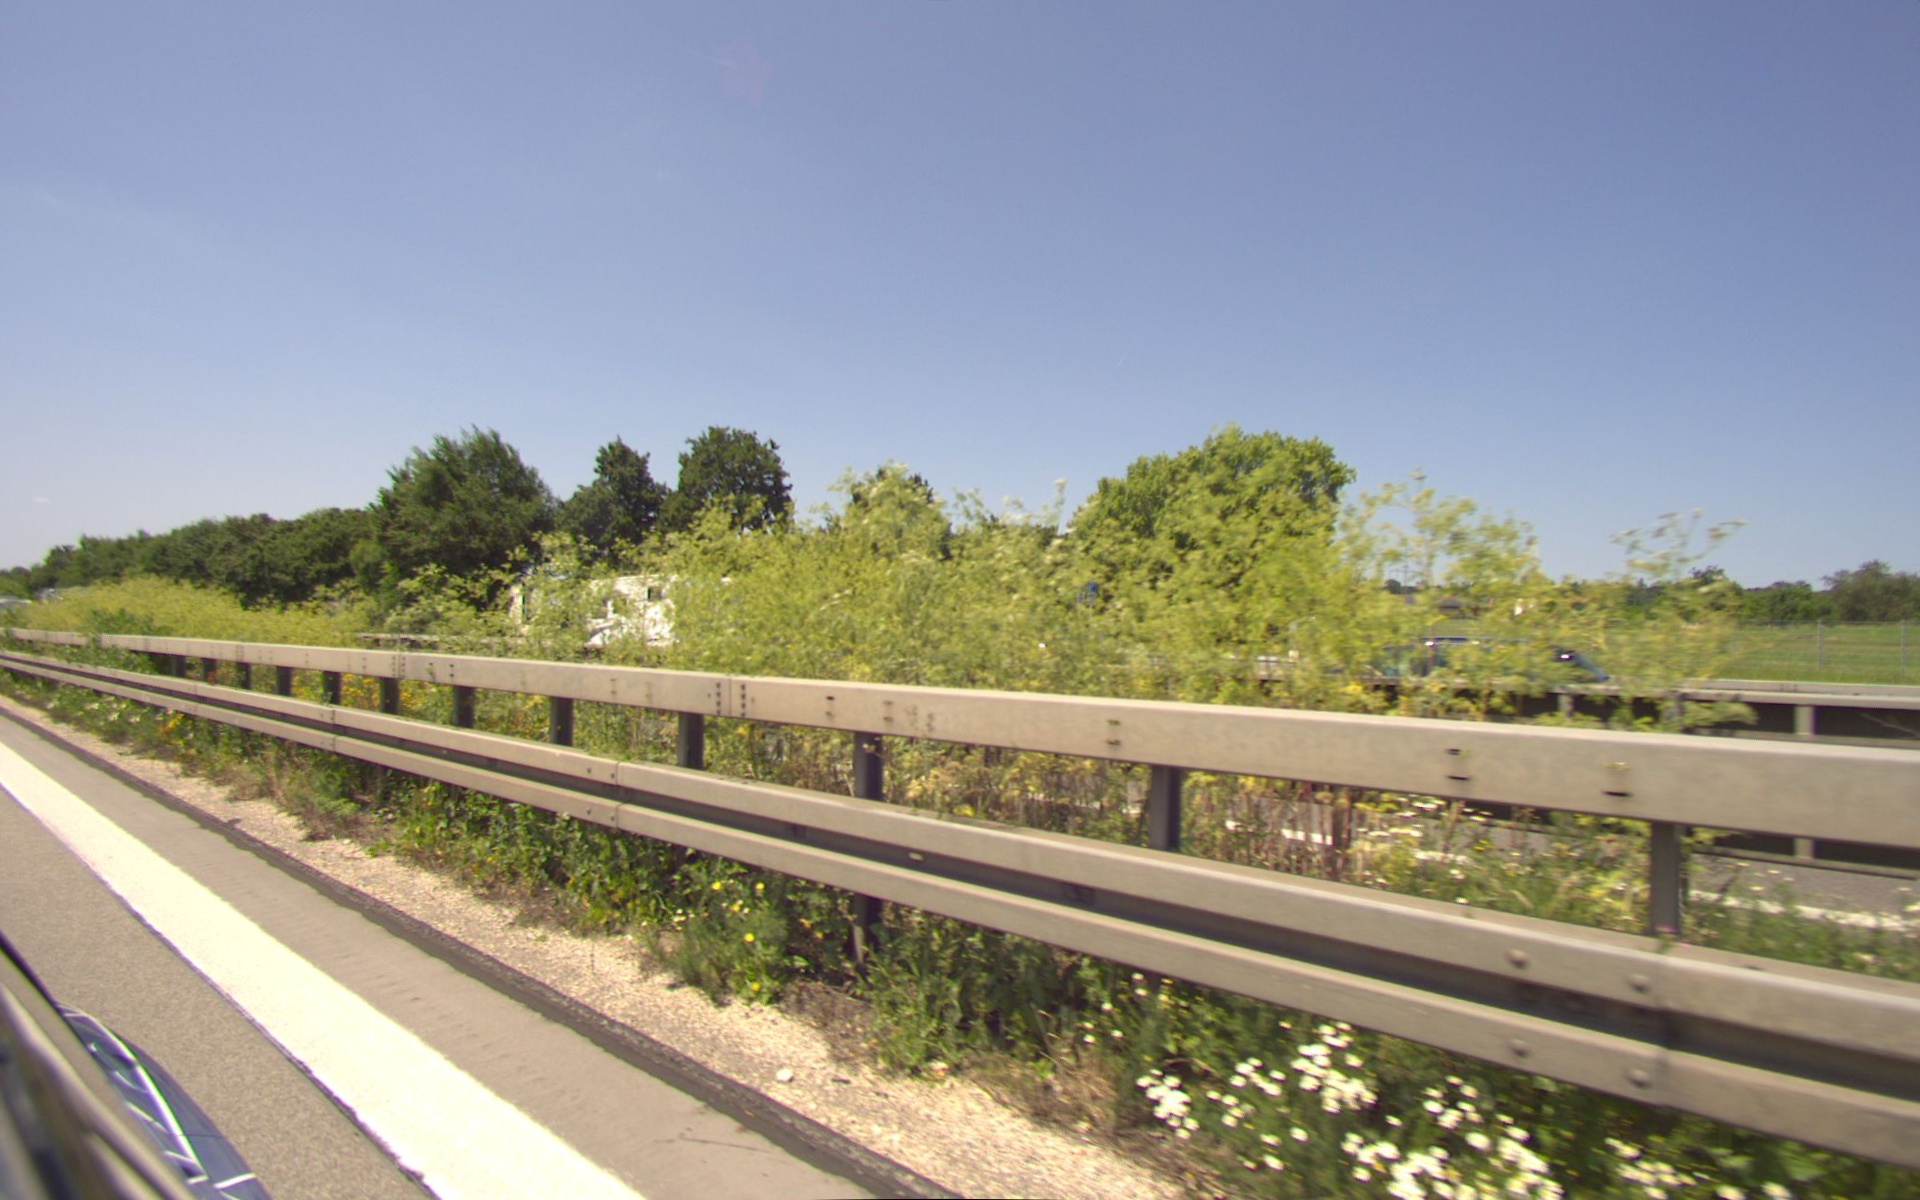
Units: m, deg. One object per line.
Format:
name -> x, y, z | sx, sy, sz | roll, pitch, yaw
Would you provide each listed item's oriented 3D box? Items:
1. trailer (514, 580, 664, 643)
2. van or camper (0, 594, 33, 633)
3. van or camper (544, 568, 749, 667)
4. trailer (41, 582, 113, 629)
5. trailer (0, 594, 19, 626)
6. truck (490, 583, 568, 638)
trailer -> -25.002, 0.711, 67.465 | 14.403, 3.807, 2.739 | 0, 0, 41
van or camper -> -84.172, 1.179, 89.329 | 7.370, 3.292, 2.497 | 0, -2, 41
van or camper -> -9.198, 0.515, 29.306 | 6.705, 2.555, 2.510 | -1, -1, 41
trailer -> -77.611, 0.457, 88.791 | 15.170, 3.876, 2.657 | 0, 0, 41
trailer -> -117.559, 1.192, 123.102 | 14.519, 3.762, 2.814 | 0, 0, 40
truck -> -30.964, 0.710, 72.617 | 6.095, 3.811, 2.768 | 0, 0, 41
